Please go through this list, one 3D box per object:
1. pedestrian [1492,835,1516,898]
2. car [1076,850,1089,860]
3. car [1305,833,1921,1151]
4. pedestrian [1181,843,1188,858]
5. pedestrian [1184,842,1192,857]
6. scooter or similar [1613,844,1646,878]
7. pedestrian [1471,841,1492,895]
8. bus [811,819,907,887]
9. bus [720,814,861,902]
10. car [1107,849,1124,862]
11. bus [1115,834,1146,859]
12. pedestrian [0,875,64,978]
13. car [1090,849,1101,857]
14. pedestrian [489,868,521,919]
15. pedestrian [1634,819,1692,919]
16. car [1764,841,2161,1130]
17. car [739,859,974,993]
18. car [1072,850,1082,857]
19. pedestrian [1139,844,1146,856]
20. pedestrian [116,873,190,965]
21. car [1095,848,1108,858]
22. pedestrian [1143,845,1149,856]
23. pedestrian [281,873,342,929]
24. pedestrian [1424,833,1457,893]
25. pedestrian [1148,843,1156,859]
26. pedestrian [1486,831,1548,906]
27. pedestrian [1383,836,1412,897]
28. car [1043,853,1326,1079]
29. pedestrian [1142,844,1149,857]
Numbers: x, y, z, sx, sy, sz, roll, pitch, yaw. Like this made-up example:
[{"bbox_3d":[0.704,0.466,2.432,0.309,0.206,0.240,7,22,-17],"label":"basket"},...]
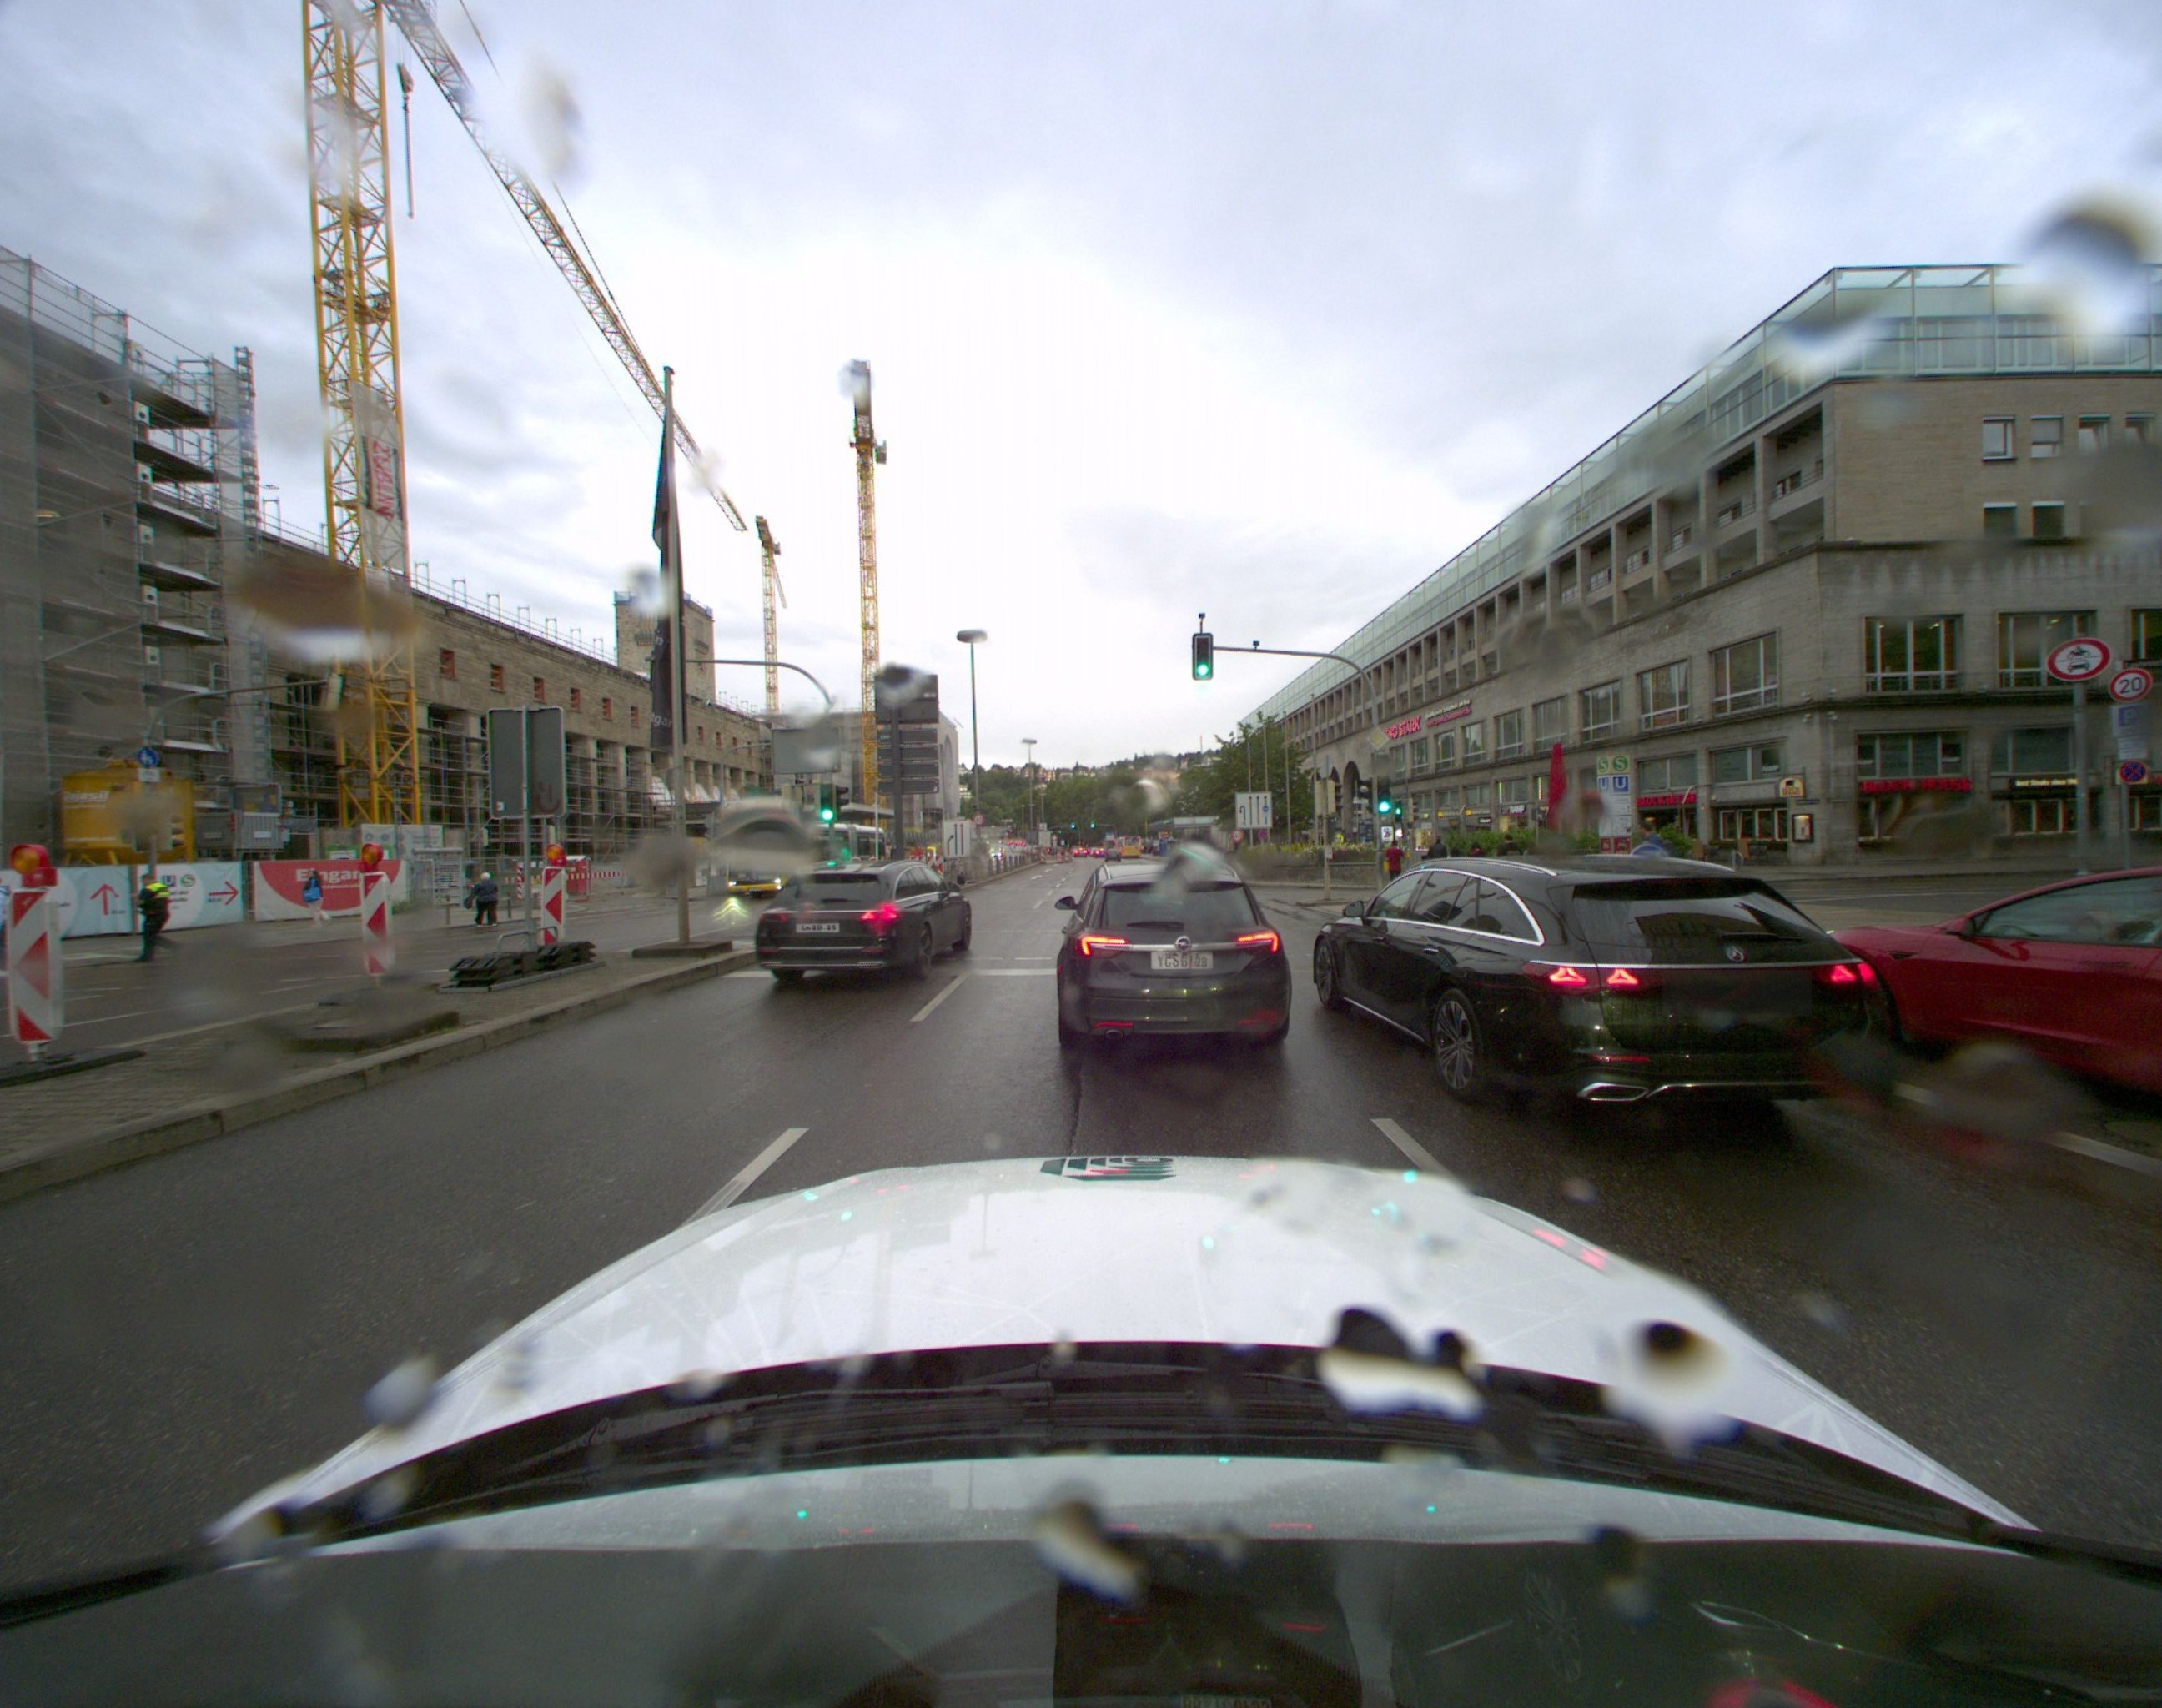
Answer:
[{"bbox_3d":[11.922,0.345,22.935,0.477,1.751,0.670,-4,-1,30],"label":"pedestrian"},{"bbox_3d":[0.223,0.170,126.663,1.839,1.398,3.565,0,0,2],"label":"car"},{"bbox_3d":[3.156,0.670,6.187,1.786,1.501,4.630,0,0,2],"label":"car"},{"bbox_3d":[12.080,-0.422,95.016,0.761,1.690,0.824,0,-1,-3],"label":"pedestrian"},{"bbox_3d":[12.343,-0.546,93.749,0.761,1.690,0.824,0,-1,-3],"label":"pedestrian"},{"bbox_3d":[19.347,0.235,28.734,0.290,1.189,1.014,0,-1,-17],"label":"scooter or similar"},{"bbox_3d":[11.399,0.404,23.164,0.460,1.517,0.453,-1,-1,35],"label":"pedestrian"},{"bbox_3d":[-12.993,-0.019,48.754,2.658,3.602,10.215,0,0,2],"label":"bus"},{"bbox_3d":[-13.270,0.186,38.414,2.658,3.602,10.243,0,0,2],"label":"bus"},{"bbox_3d":[3.834,0.161,91.242,1.839,1.398,3.668,0,0,2],"label":"car"},{"bbox_3d":[7.169,-0.941,120.548,4.158,3.469,14.659,0,0,2],"label":"bus"},{"bbox_3d":[-20.010,1.346,15.363,0.798,1.890,0.618,0,-1,-7],"label":"pedestrian"},{"bbox_3d":[2.626,-0.159,143.617,1.839,1.398,3.565,0,0,2],"label":"car"},{"bbox_3d":[-18.104,1.226,25.578,0.790,1.561,0.865,0,-1,-37],"label":"pedestrian"},{"bbox_3d":[10.606,0.265,14.849,0.770,1.756,0.507,-1,-1,45],"label":"pedestrian"},{"bbox_3d":[6.501,0.672,4.422,1.868,1.486,4.527,0,0,1],"label":"car"},{"bbox_3d":[-2.777,0.807,11.277,1.848,1.469,4.589,0,0,2],"label":"car"},{"bbox_3d":[-0.759,-0.074,153.516,1.752,1.398,3.565,0,0,2],"label":"car"},{"bbox_3d":[11.677,-0.750,154.226,1.194,2.149,1.229,0,-1,3],"label":"pedestrian"},{"bbox_3d":[-19.208,1.317,16.876,0.576,1.836,0.820,0,-1,2],"label":"pedestrian"},{"bbox_3d":[2.947,-0.139,120.429,1.748,1.398,4.647,0,0,-1],"label":"car"},{"bbox_3d":[12.554,-0.735,157.379,1.194,2.149,1.229,0,-1,3],"label":"pedestrian"},{"bbox_3d":[-22.280,1.338,23.601,0.912,1.563,0.899,0,-1,-2],"label":"pedestrian"},{"bbox_3d":[10.539,0.263,23.860,0.753,1.717,0.466,0,-1,-2],"label":"pedestrian"},{"bbox_3d":[11.287,-0.474,129.857,1.194,2.435,1.229,0,-1,3],"label":"pedestrian"},{"bbox_3d":[10.702,0.349,20.018,1.093,1.751,0.653,-3,-1,-1],"label":"pedestrian"},{"bbox_3d":[9.392,0.366,24.186,0.563,1.752,0.684,-1,-1,44],"label":"pedestrian"},{"bbox_3d":[0.734,0.756,7.405,1.868,1.486,4.001,0,0,1],"label":"car"},{"bbox_3d":[11.399,-0.630,143.660,1.194,2.149,1.229,0,-1,3],"label":"pedestrian"}]
